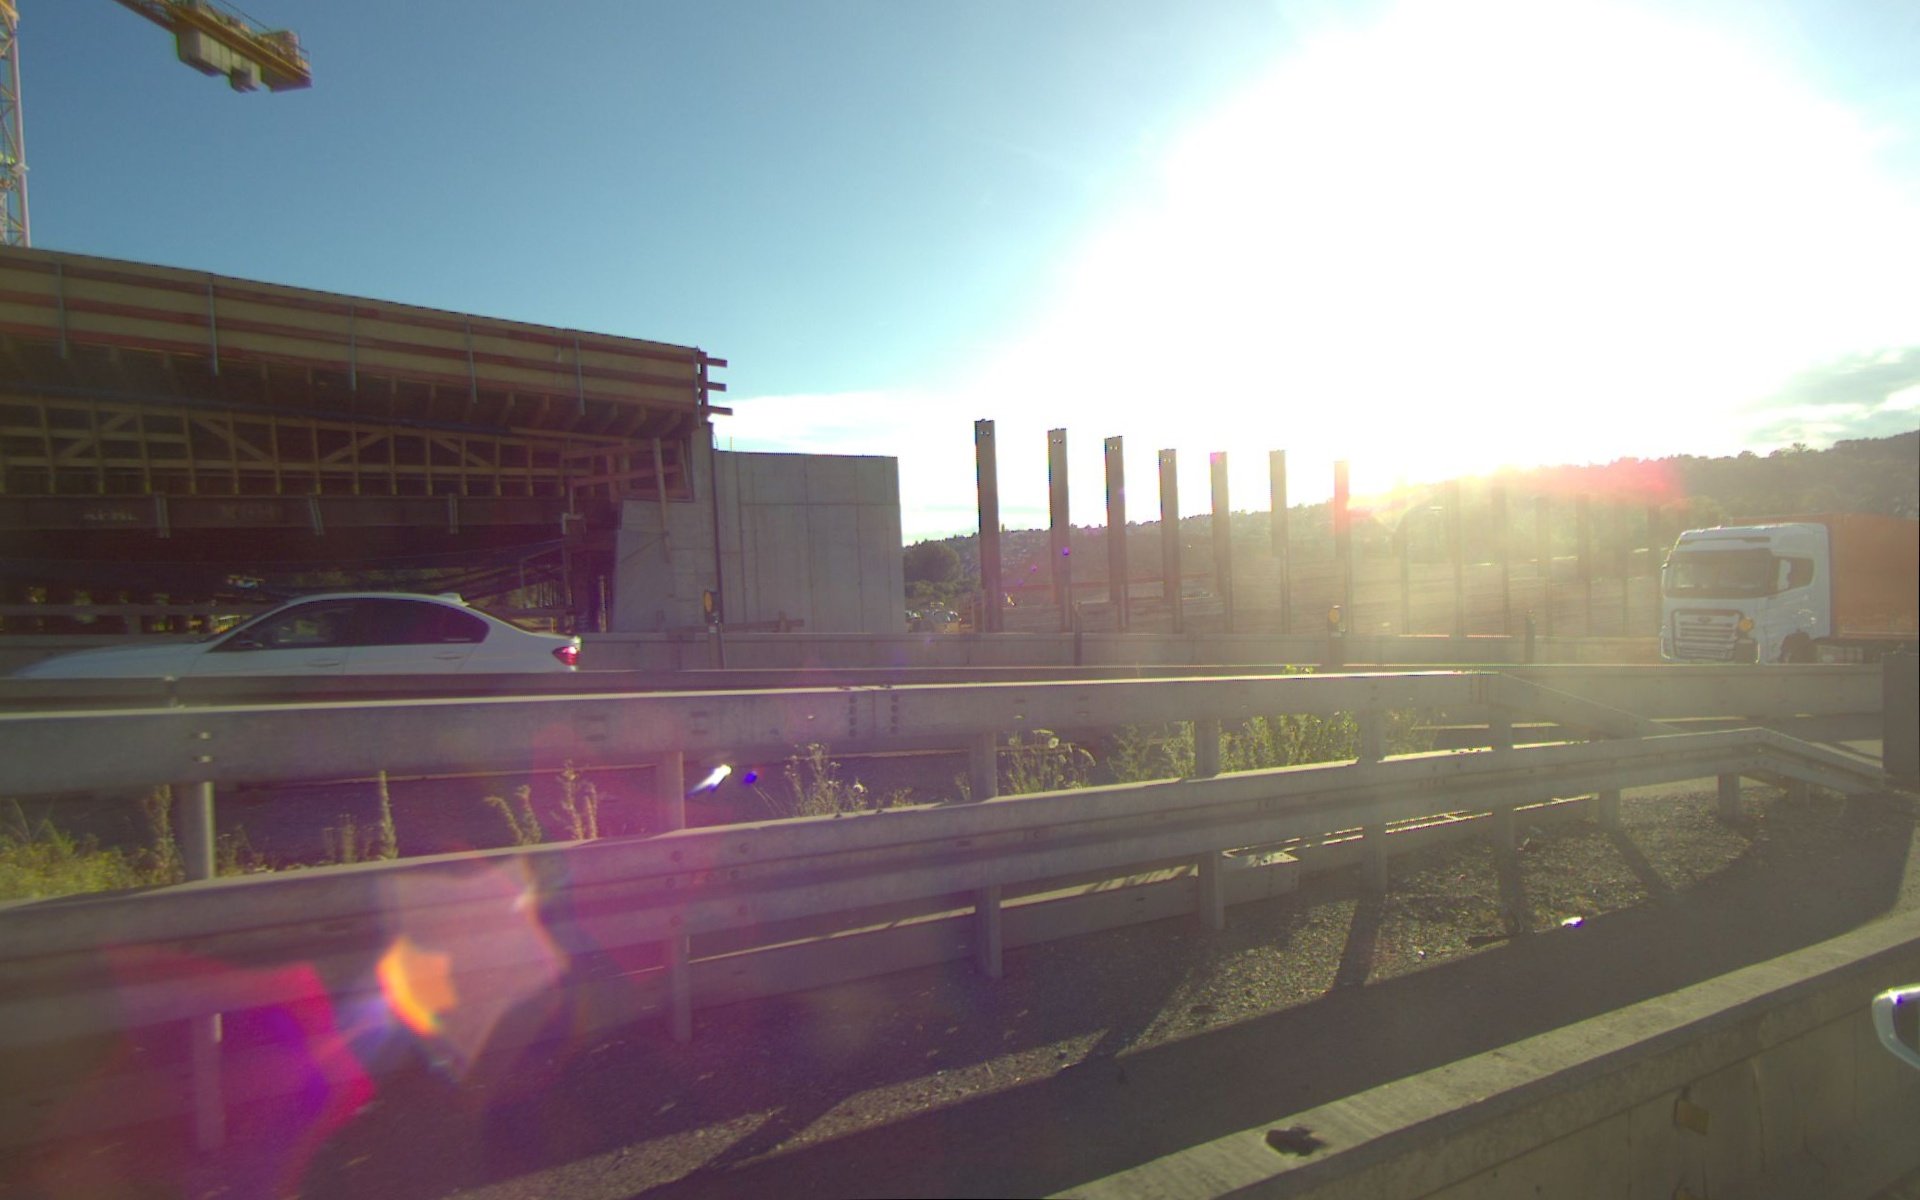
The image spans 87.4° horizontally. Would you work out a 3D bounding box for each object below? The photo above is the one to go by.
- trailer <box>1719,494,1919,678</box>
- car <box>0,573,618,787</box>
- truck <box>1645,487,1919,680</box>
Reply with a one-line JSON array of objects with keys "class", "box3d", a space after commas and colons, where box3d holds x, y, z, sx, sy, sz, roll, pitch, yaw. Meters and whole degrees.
[{"class": "trailer", "box3d": [27.506, -0.231, 28.581, 13.931, 4.531, 2.578, 1, 1, -22]}, {"class": "car", "box3d": [-5.755, 0.643, 9.415, 4.603, 1.622, 1.723, 1, 1, -28]}, {"class": "truck", "box3d": [22.071, -0.342, 26.375, 8.212, 4.531, 2.578, 1, 1, -23]}]
